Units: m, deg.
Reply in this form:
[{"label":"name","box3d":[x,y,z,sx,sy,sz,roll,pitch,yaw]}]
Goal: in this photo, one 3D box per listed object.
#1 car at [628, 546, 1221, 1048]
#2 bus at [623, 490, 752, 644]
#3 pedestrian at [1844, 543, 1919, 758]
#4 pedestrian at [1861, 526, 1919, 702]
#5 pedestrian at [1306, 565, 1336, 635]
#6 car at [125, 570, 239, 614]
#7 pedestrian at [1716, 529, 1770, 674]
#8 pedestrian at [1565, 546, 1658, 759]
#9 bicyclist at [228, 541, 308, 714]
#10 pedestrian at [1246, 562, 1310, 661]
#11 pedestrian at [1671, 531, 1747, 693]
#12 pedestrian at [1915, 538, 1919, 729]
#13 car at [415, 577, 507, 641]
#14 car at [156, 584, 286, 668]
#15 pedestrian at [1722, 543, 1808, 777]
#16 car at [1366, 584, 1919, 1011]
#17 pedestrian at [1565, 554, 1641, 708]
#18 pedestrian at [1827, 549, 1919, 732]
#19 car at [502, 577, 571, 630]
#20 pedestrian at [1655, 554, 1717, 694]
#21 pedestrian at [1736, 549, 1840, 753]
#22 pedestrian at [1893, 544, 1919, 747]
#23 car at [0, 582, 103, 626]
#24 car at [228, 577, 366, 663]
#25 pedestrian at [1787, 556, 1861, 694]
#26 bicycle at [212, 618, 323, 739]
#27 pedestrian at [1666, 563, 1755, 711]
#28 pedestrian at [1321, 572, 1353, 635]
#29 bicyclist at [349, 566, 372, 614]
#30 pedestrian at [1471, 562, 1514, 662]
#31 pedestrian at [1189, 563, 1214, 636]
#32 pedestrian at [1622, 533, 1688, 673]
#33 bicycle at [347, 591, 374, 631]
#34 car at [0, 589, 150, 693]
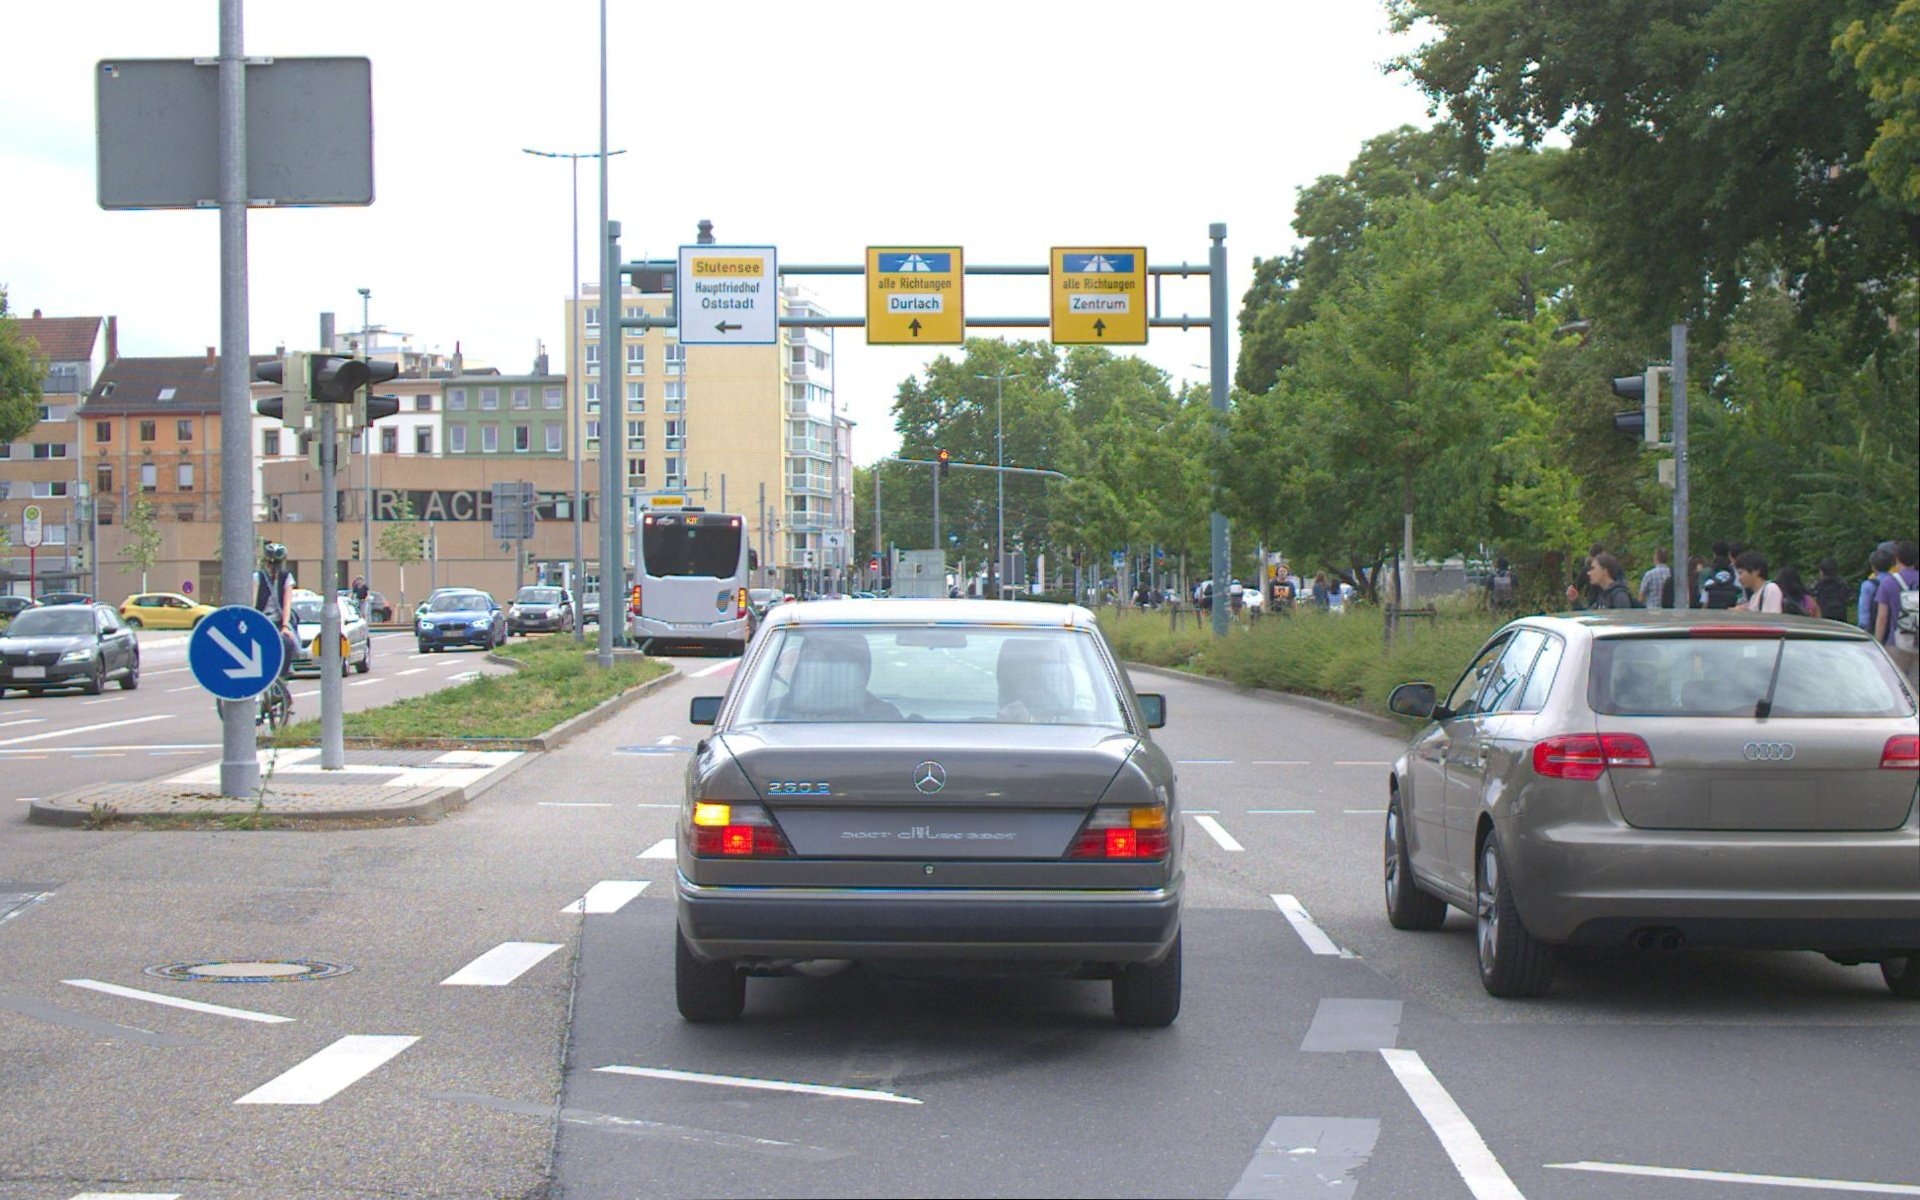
[{"label":"car","box3d":[-0.164,0.568,12.314,1.761,1.484,4.171,0,0,-2]},{"label":"bus","box3d":[-6.256,-0.763,79.709,2.831,3.379,8.184,0,1,-4]},{"label":"pedestrian","box3d":[7.697,0.402,28.226,0.624,1.739,0.780,0,0,-4]},{"label":"pedestrian","box3d":[9.236,0.131,33.446,0.656,1.683,0.842,0,0,-4]},{"label":"pedestrian","box3d":[8.842,-0.003,84.179,0.647,1.707,0.561,0,0,13]},{"label":"car","box3d":[-28.215,-0.279,124.705,3.855,1.512,1.661,1,0,-7]},{"label":"pedestrian","box3d":[9.600,0.020,42.154,0.484,1.757,0.664,0,0,-2]},{"label":"pedestrian","box3d":[5.350,0.425,28.265,0.601,1.729,0.654,0,0,-4]},{"label":"bicyclist","box3d":[-6.345,0.243,31.549,0.572,1.568,0.699,0,0,2]},{"label":"pedestrian","box3d":[5.952,0.208,64.260,0.935,1.824,0.886,0,0,26]},{"label":"pedestrian","box3d":[8.511,0.135,39.083,0.656,1.815,0.812,0,0,-2]},{"label":"pedestrian","box3d":[9.231,0.305,31.399,0.656,1.760,0.958,-2,0,-4]},{"label":"car","box3d":[-11.971,0.236,82.744,1.801,1.506,4.104,0,-1,-3]},{"label":"car","box3d":[-15.027,0.499,70.122,1.864,1.646,4.423,0,0,-2]},{"label":"pedestrian","box3d":[6.009,0.439,25.666,0.454,1.729,0.637,0,0,-4]},{"label":"car","box3d":[2.721,0.671,13.704,1.724,1.452,3.736,0,0,-1]},{"label":"pedestrian","box3d":[7.662,0.359,40.993,0.693,1.815,0.954,0,0,-2]},{"label":"pedestrian","box3d":[8.340,0.359,31.257,0.656,1.642,0.812,0,0,-4]},{"label":"car","box3d":[-12.530,0.096,101.900,1.571,1.484,3.636,-2,0,-1]},{"label":"pedestrian","box3d":[8.637,0.278,40.917,0.555,1.649,0.753,0,0,-2]},{"label":"pedestrian","box3d":[7.171,0.431,29.802,0.656,1.739,0.780,0,0,-4]},{"label":"pedestrian","box3d":[8.486,0.387,29.707,0.581,1.739,0.790,0,0,-4]},{"label":"car","box3d":[-33.404,0.124,123.955,4.668,1.470,1.661,1,0,-7]},{"label":"car","box3d":[-11.962,0.331,62.263,1.801,1.484,4.289,0,0,-2]},{"label":"pedestrian","box3d":[9.992,0.285,39.768,0.635,1.578,0.785,0,0,-2]},{"label":"bicycle","box3d":[-6.345,0.703,31.578,0.573,1.052,1.926,0,0,2]},{"label":"pedestrian","box3d":[8.207,0.402,37.624,0.775,1.597,0.812,0,0,-2]},{"label":"pedestrian","box3d":[8.745,0.084,79.770,0.657,1.465,0.561,0,0,15]},{"label":"bicyclist","box3d":[-17.905,-0.308,102.698,0.580,1.414,0.811,0,0,-4]},{"label":"pedestrian","box3d":[8.994,0.195,58.065,0.587,1.677,0.748,0,0,-2]},{"label":"pedestrian","box3d":[6.693,-0.016,95.332,0.614,2.007,0.597,0,0,-3]},{"label":"pedestrian","box3d":[8.679,0.033,42.943,0.619,1.729,0.814,0,0,-2]},{"label":"bicycle","box3d":[-17.904,0.326,102.692,0.581,1.166,1.964,0,0,-3]},{"label":"car","box3d":[-14.639,0.632,56.406,1.897,1.610,4.745,0,0,-4]}]
